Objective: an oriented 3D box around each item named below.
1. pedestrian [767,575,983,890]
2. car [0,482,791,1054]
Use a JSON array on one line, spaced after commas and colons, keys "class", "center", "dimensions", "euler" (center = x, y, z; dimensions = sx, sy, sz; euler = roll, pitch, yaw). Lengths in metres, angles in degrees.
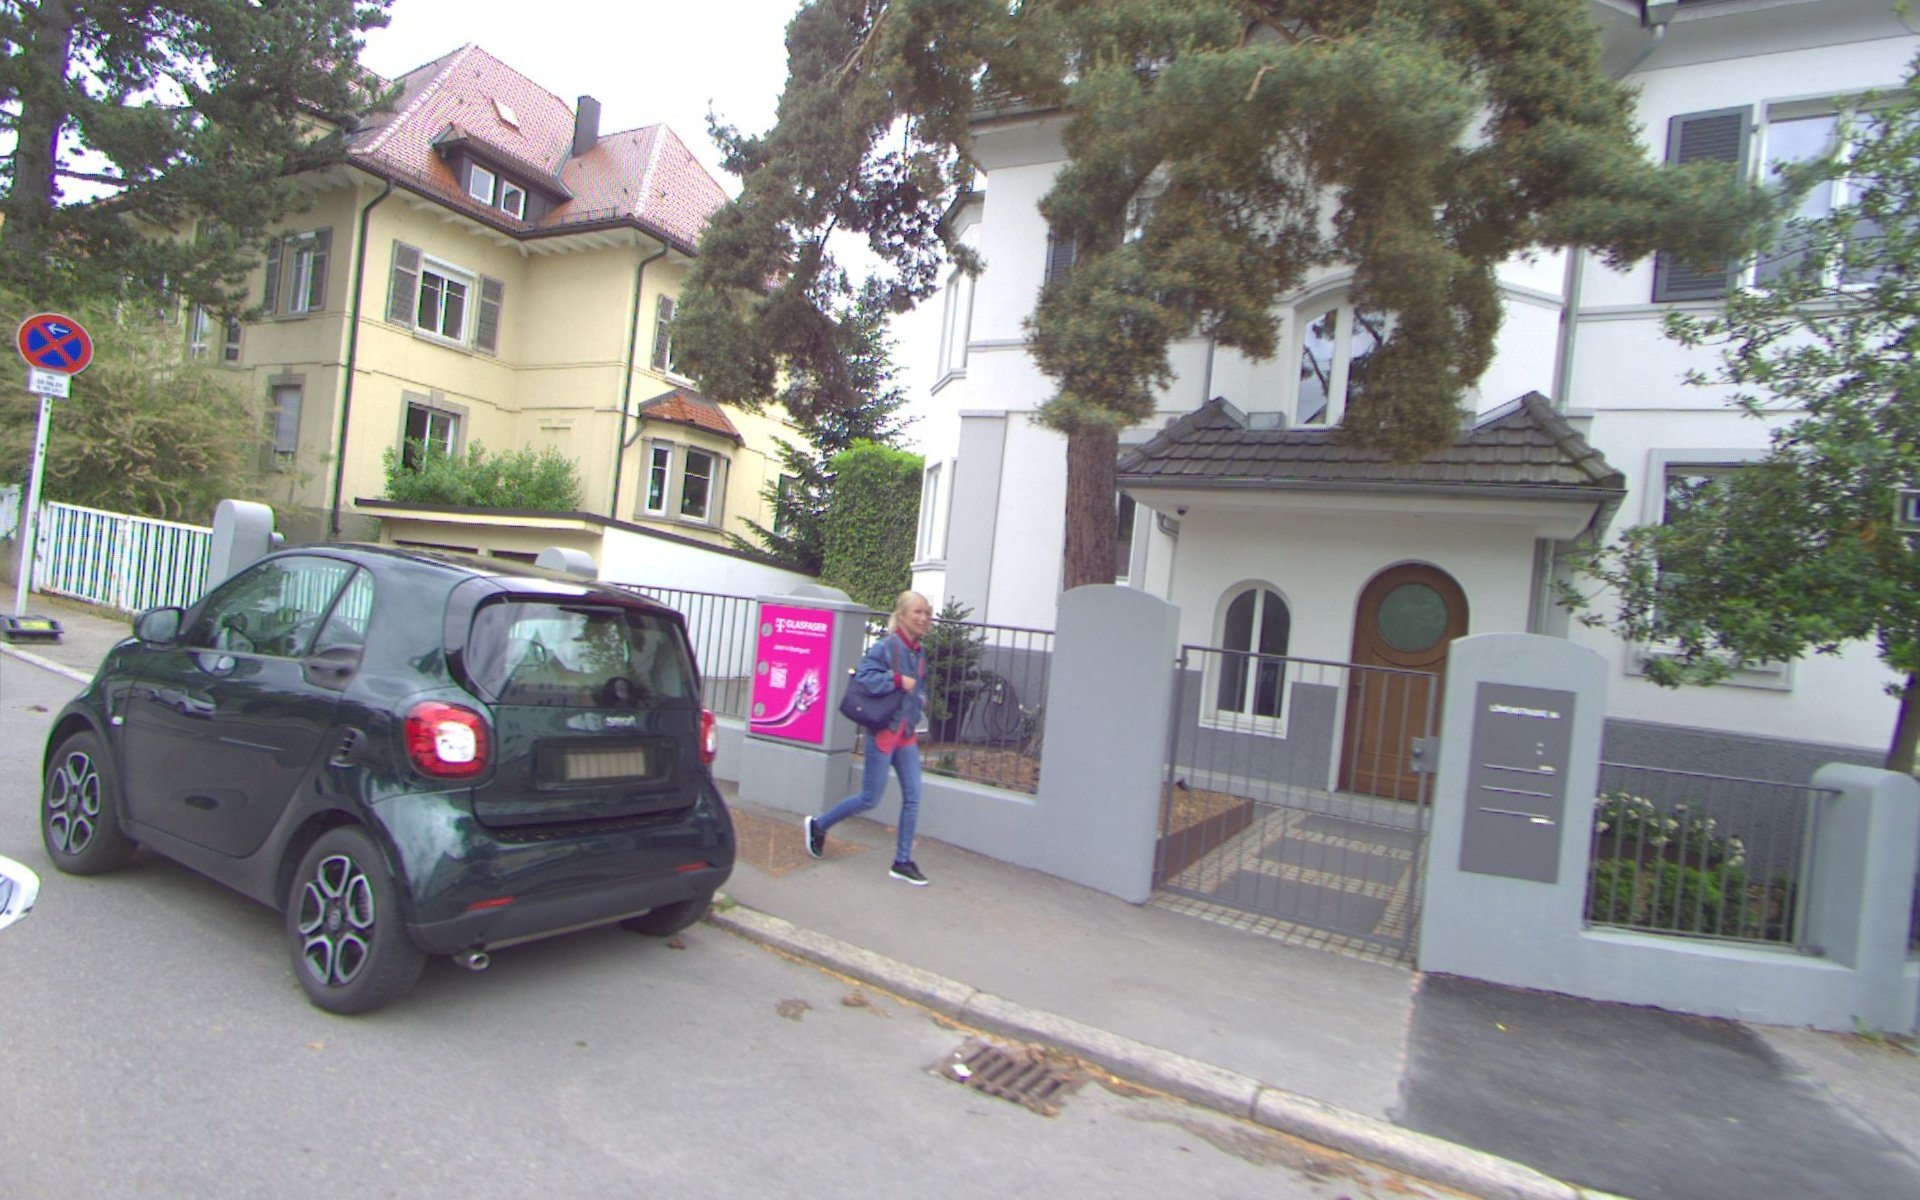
[{"class": "pedestrian", "center": [-0.490, 0.702, 5.777], "dimensions": [0.892, 1.598, 0.680], "euler": [6, 2, 36]}, {"class": "car", "center": [-2.453, 0.521, 4.407], "dimensions": [2.817, 1.549, 1.577], "euler": [8, -2, 27]}]
